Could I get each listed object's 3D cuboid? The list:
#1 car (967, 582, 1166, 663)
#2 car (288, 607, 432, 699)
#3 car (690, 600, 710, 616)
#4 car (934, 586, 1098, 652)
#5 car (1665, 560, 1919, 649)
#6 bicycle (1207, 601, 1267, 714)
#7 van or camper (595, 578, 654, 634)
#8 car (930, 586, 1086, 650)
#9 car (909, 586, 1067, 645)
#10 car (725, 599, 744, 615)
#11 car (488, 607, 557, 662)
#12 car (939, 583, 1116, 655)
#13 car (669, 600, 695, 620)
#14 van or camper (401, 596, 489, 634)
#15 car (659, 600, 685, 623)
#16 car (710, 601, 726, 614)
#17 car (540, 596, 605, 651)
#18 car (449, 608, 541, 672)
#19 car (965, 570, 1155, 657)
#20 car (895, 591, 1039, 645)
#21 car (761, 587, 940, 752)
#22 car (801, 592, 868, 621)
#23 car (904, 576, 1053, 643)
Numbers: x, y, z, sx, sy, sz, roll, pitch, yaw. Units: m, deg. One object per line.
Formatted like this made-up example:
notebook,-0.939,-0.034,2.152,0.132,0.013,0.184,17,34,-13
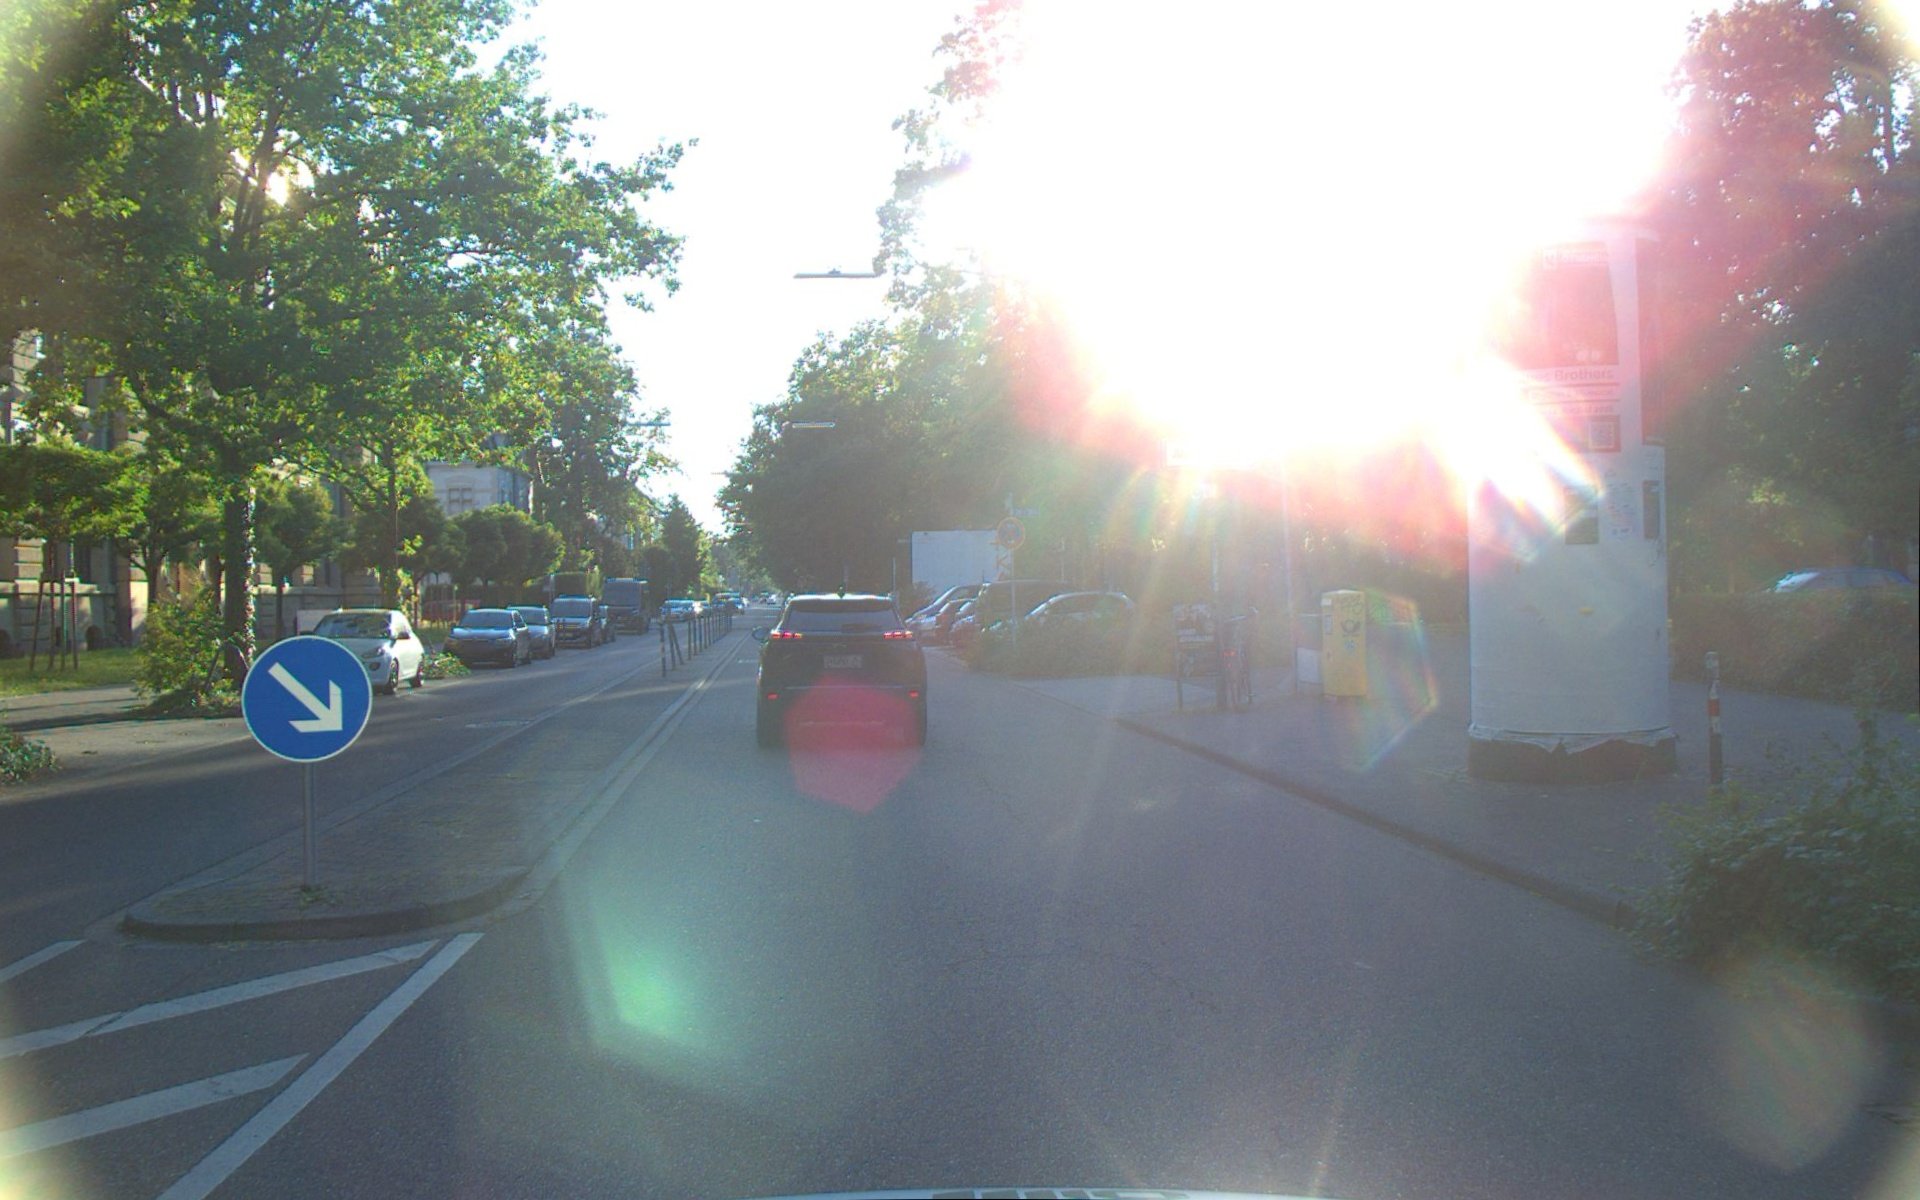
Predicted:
car,2.427,0.502,38.172,4.281,1.581,1.724,-3,0,-8
car,-10.830,0.907,30.112,1.587,1.522,3.919,-1,0,-7
car,-24.677,0.752,157.115,1.720,1.438,3.757,-3,1,-8
car,1.536,0.522,46.478,4.281,1.564,1.918,-3,0,-8
car,15.242,0.066,30.106,4.060,1.467,1.833,-1,0,-7
bicycle,3.336,0.656,19.808,0.482,1.168,2.287,-4,1,13
van or camper,-16.101,0.281,79.647,2.187,2.589,7.068,0,0,-7
car,1.376,0.516,48.742,4.281,1.564,1.918,-3,0,-8
car,0.867,0.482,53.633,4.834,1.581,1.913,-3,0,-8
car,-21.811,0.668,159.851,1.708,1.483,4.616,-2,0,-7
car,-13.163,0.999,49.969,1.688,1.522,4.365,-1,0,-11
car,1.724,0.470,43.114,4.281,1.581,1.873,-3,0,-8
car,-21.031,0.754,125.214,1.583,1.492,4.030,-2,0,-6
van or camper,-31.170,0.919,100.258,4.675,2.020,1.999,-1,4,-5
car,-19.983,0.798,115.005,1.584,1.541,3.705,-3,0,-8
car,-29.555,0.894,202.123,1.863,1.601,3.994,-1,0,-7
car,-14.074,0.822,60.248,1.743,1.898,4.326,1,0,-6
car,-12.002,1.002,42.906,1.587,1.522,4.371,-1,0,-7
car,2.400,0.316,40.432,4.281,1.811,1.918,-3,0,-8
car,0.213,0.610,58.448,4.834,1.581,1.913,-3,0,-8
car,-1.281,0.653,18.132,1.737,1.596,4.103,0,0,-6
car,-7.507,0.365,98.590,3.911,1.581,1.723,-2,1,-7
car,0.595,0.297,55.933,4.761,1.949,1.913,-3,0,-8
